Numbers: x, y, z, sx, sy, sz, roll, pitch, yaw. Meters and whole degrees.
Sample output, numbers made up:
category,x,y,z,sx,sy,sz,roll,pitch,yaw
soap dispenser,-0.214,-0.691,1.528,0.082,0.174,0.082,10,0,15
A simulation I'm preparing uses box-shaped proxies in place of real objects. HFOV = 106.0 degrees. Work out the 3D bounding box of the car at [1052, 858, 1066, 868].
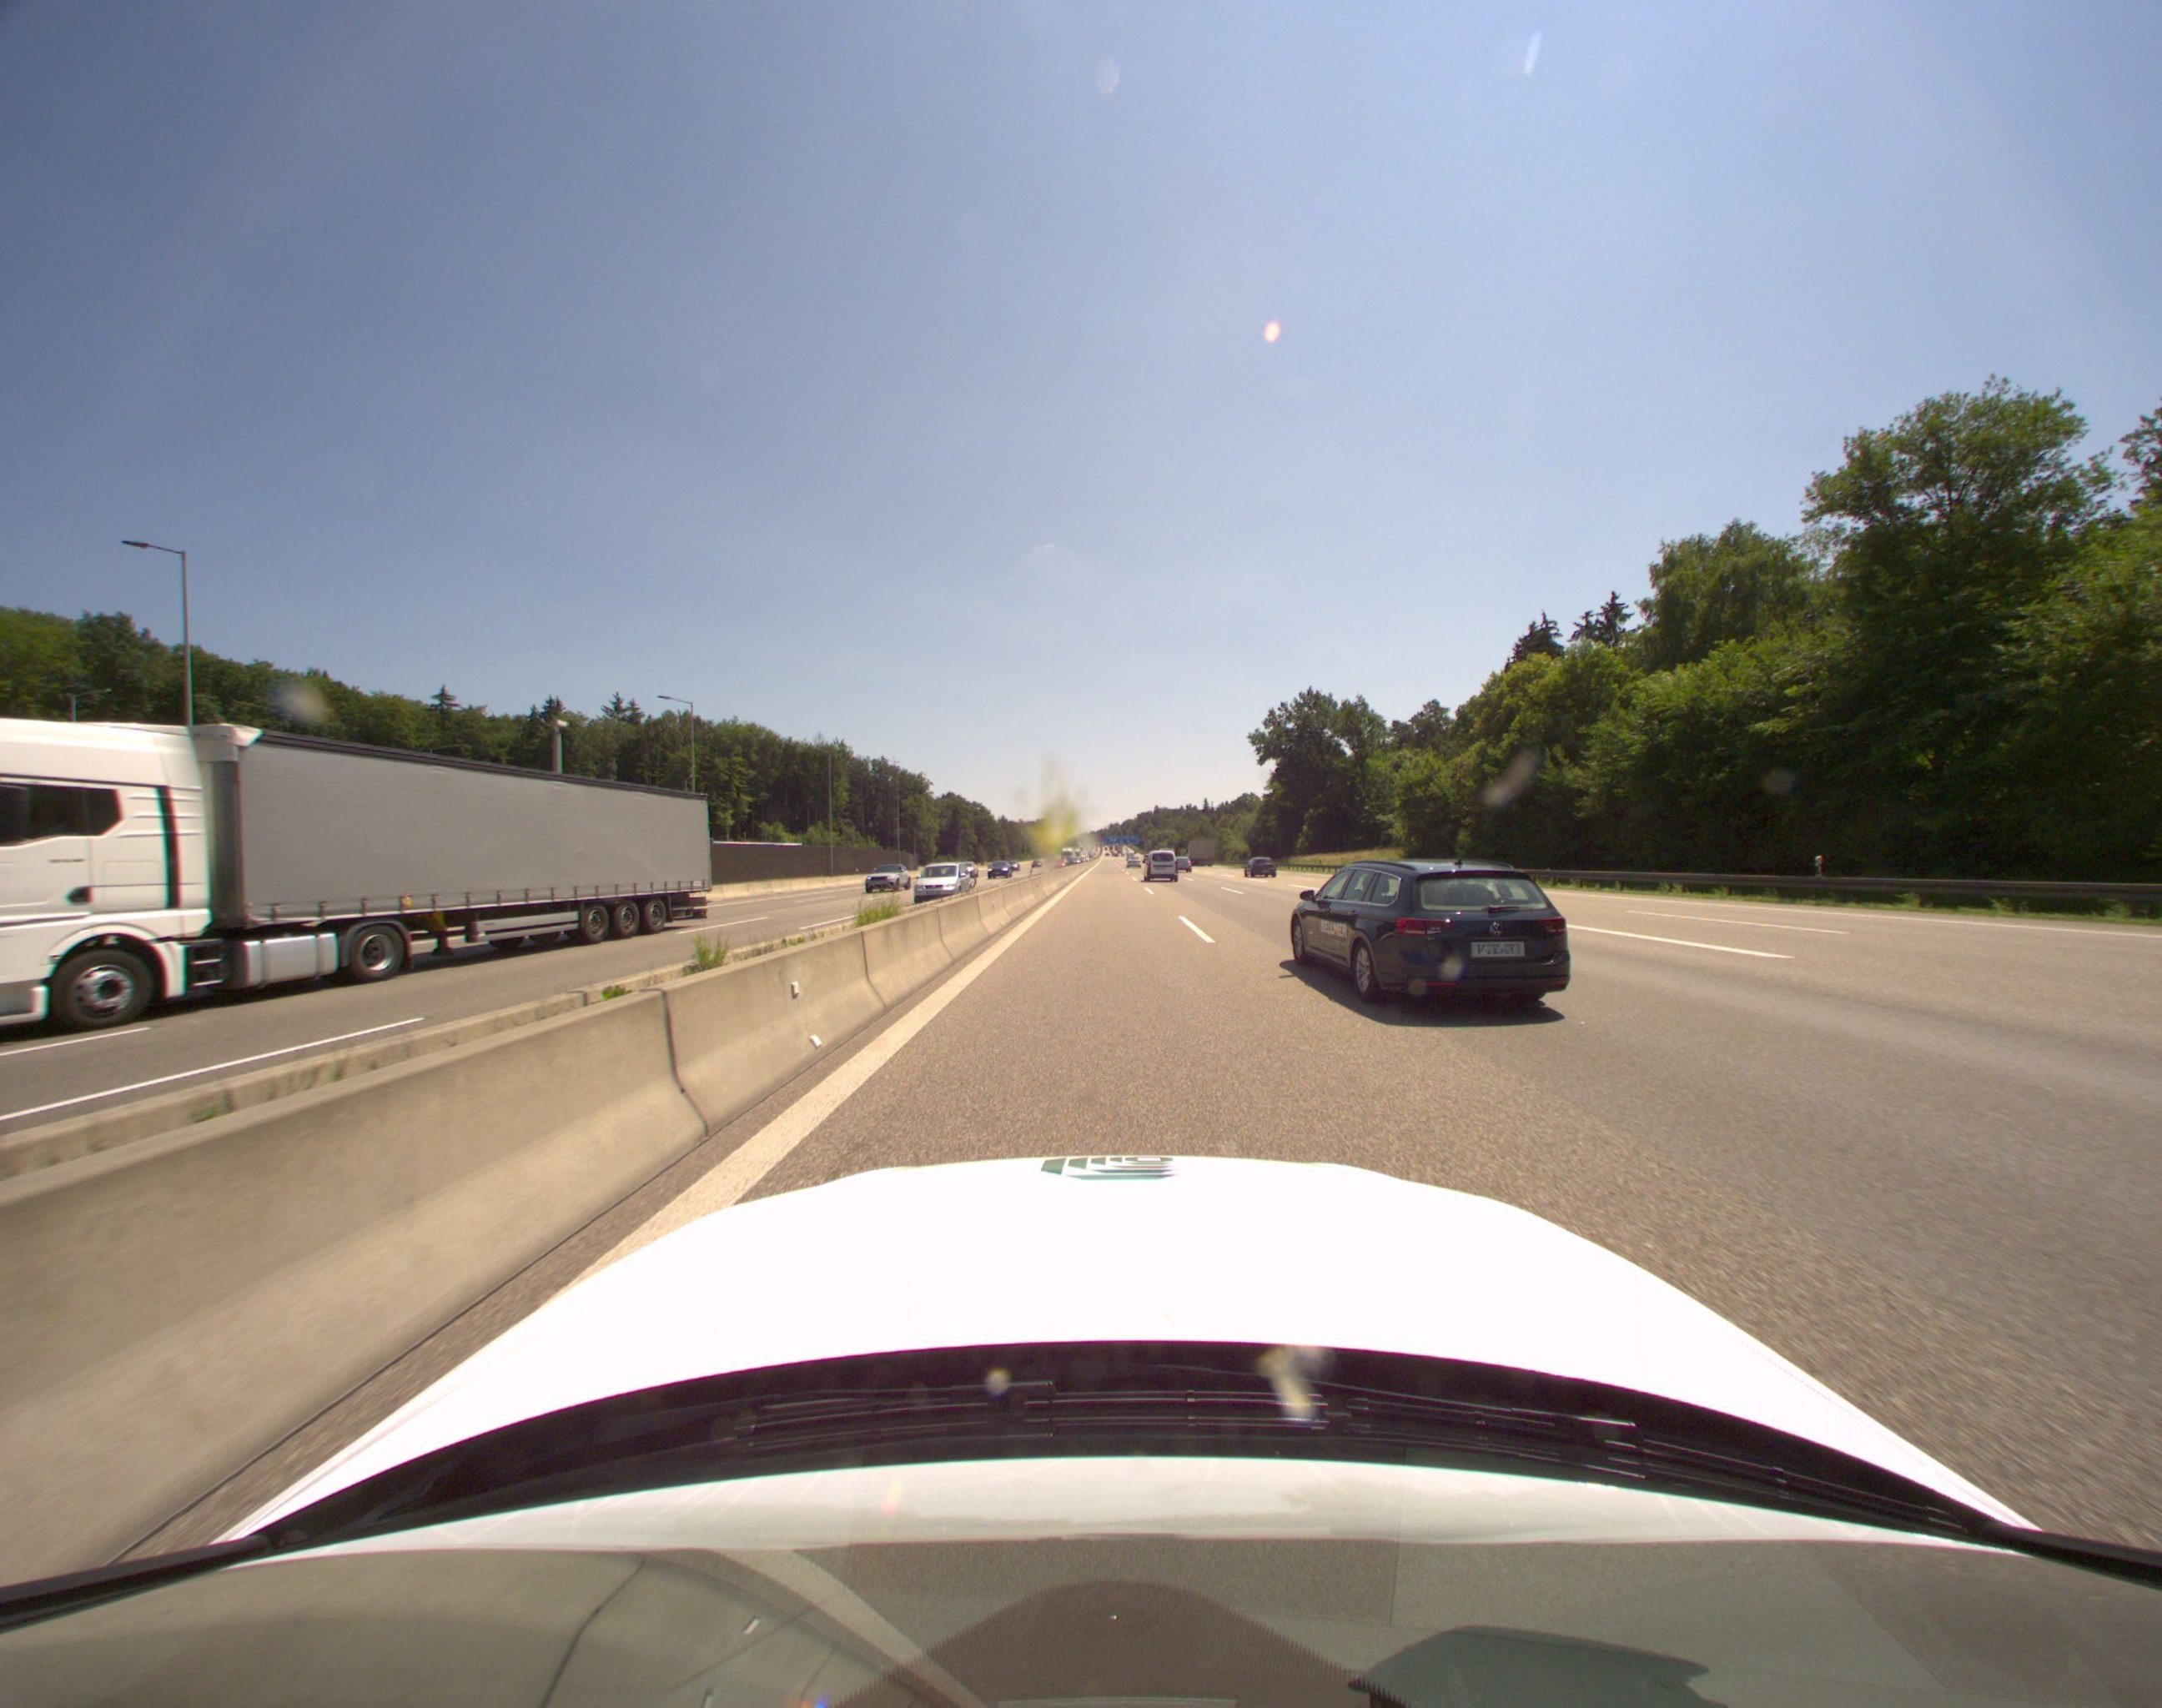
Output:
category,x,y,z,sx,sy,sz,roll,pitch,yaw
car,-3.269,1.301,119.398,1.724,1.513,5.046,-2,0,2

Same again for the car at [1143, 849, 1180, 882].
category,x,y,z,sx,sy,sz,roll,pitch,yaw
car,4.765,0.646,48.580,1.852,1.826,4.614,-2,0,2

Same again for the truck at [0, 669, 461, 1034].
category,x,y,z,sx,sy,sz,roll,pitch,yaw
truck,-13.215,0.025,11.970,2.724,4.031,6.784,-2,0,2

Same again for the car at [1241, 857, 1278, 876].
category,x,y,z,sx,sy,sz,roll,pitch,yaw
car,12.640,0.864,57.914,1.665,1.273,4.288,-2,0,-1

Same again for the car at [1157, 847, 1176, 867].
category,x,y,z,sx,sy,sz,roll,pitch,yaw
car,11.542,0.379,109.788,2.135,2.652,5.712,-1,1,2

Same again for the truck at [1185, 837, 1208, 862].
category,x,y,z,sx,sy,sz,roll,pitch,yaw
truck,19.657,-0.801,138.918,3.242,4.106,5.990,0,1,1

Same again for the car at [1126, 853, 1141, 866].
category,x,y,z,sx,sy,sz,roll,pitch,yaw
car,6.925,0.784,108.198,1.836,1.629,4.555,-2,0,2

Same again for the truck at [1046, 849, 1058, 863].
category,x,y,z,sx,sy,sz,roll,pitch,yaw
truck,-9.157,0.539,257.067,2.825,4.197,10.598,-2,0,1

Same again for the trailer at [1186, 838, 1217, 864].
category,x,y,z,sx,sy,sz,roll,pitch,yaw
trailer,19.514,-0.599,132.468,3.276,3.930,13.894,0,1,1

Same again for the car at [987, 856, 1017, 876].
category,x,y,z,sx,sy,sz,roll,pitch,yaw
car,-7.343,1.092,76.232,1.986,1.774,5.926,-2,0,2

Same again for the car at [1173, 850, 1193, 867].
category,x,y,z,sx,sy,sz,roll,pitch,yaw
car,9.467,0.445,75.951,1.498,1.500,3.651,-2,0,2

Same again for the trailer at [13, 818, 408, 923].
category,x,y,z,sx,sy,sz,roll,pitch,yaw
trailer,-47.227,0.705,45.444,14.650,5.072,3.091,-1,0,-44

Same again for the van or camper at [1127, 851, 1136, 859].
category,x,y,z,sx,sy,sz,roll,pitch,yaw
van or camper,16.058,0.269,259.511,2.635,2.539,6.504,-2,0,2

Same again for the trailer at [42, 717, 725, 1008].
category,x,y,z,sx,sy,sz,roll,pitch,yaw
trailer,-12.959,0.133,18.662,2.744,4.001,14.473,-2,0,2

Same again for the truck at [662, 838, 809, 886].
category,x,y,z,sx,sy,sz,roll,pitch,yaw
truck,-43.019,0.863,102.408,16.806,5.612,3.408,-1,0,-44

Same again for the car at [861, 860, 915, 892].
category,x,y,z,sx,sy,sz,roll,pitch,yaw
car,-11.960,1.333,50.738,1.986,1.774,5.040,-2,0,2

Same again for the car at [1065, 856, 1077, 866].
category,x,y,z,sx,sy,sz,roll,pitch,yaw
car,-1.881,1.312,154.642,1.987,1.663,5.754,-3,0,0

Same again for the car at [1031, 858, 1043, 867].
category,x,y,z,sx,sy,sz,roll,pitch,yaw
car,-8.578,1.584,158.732,1.987,1.621,5.754,-2,0,0

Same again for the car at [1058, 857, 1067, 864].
category,x,y,z,sx,sy,sz,roll,pitch,yaw
car,-4.292,1.607,191.017,1.987,1.487,5.018,-3,0,0

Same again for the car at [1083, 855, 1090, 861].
category,x,y,z,sx,sy,sz,roll,pitch,yaw
car,1.625,1.145,237.804,1.742,1.457,4.156,-2,0,0

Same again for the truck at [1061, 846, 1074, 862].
category,x,y,z,sx,sy,sz,roll,pitch,yaw
truck,-3.427,-0.001,213.782,3.036,4.137,6.951,-2,0,1

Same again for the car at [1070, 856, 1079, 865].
category,x,y,z,sx,sy,sz,roll,pitch,yaw
car,-1.392,1.405,177.973,1.987,1.663,4.971,-3,0,1

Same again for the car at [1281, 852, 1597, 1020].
category,x,y,z,sx,sy,sz,roll,pitch,yaw
car,3.710,0.710,9.551,1.723,1.447,4.964,0,0,2

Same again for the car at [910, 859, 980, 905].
category,x,y,z,sx,sy,sz,roll,pitch,yaw
car,-5.503,1.087,33.633,1.777,1.643,5.465,-2,0,2

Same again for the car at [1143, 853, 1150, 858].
category,x,y,z,sx,sy,sz,roll,pitch,yaw
car,18.332,0.299,228.033,1.829,1.338,3.644,-2,0,1
